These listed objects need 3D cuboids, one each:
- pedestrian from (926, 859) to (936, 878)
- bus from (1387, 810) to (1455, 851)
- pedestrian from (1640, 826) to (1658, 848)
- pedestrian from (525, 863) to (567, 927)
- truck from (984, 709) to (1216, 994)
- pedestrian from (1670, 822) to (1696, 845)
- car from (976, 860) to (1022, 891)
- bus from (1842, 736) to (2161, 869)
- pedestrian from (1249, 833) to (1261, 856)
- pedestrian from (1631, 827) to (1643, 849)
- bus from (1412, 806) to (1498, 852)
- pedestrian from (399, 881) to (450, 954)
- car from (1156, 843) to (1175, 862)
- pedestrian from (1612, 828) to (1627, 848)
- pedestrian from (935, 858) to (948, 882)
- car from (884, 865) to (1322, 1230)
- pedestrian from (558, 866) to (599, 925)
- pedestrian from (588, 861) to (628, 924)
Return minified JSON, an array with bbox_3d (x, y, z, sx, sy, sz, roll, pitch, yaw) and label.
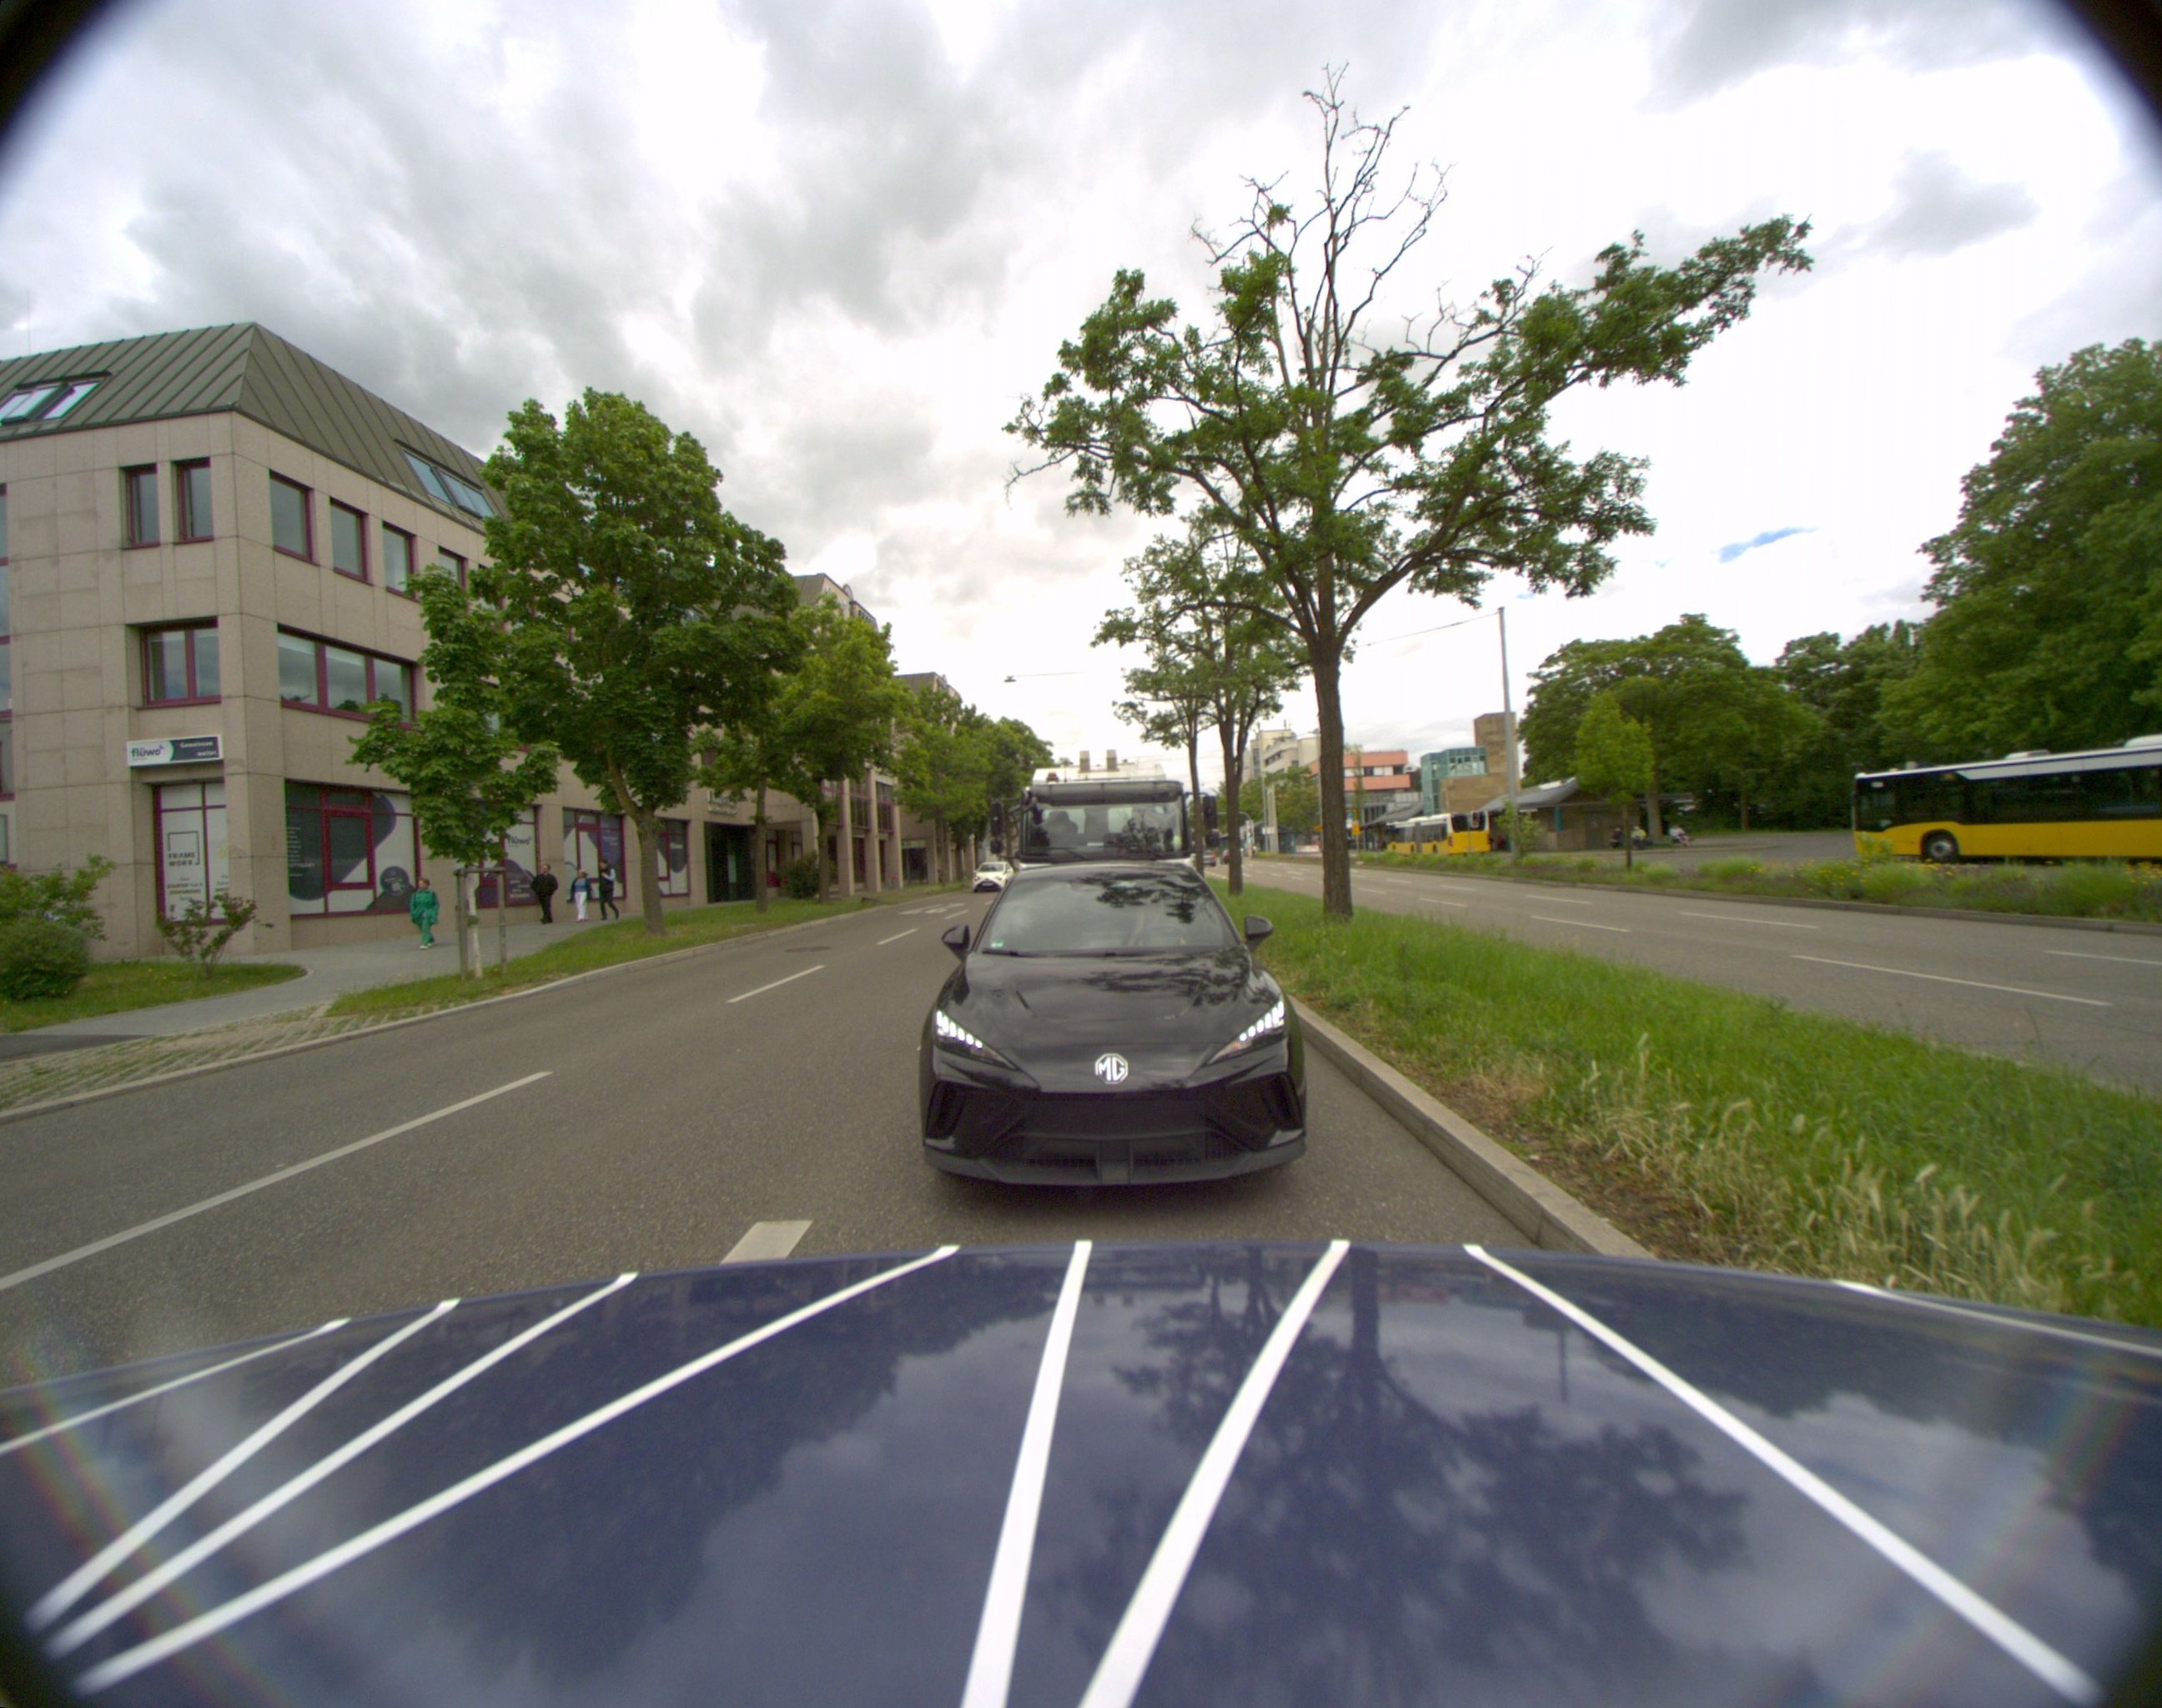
[{"bbox_3d":[-11.289,1.119,57.196,0.607,1.397,0.640,-2,1,2],"label":"pedestrian"},{"bbox_3d":[27.634,-1.813,62.255,2.887,2.985,9.182,-3,0,10],"label":"bus"},{"bbox_3d":[30.648,-0.900,40.998,0.598,1.155,0.744,-2,1,26],"label":"pedestrian"},{"bbox_3d":[-15.433,1.175,21.931,0.642,1.795,0.677,-3,1,1],"label":"pedestrian"},{"bbox_3d":[0.330,-0.029,12.477,2.544,3.187,7.369,-3,0,2],"label":"truck"},{"bbox_3d":[31.954,-1.078,40.354,0.650,1.165,0.925,-2,1,1],"label":"pedestrian"},{"bbox_3d":[-4.058,1.030,37.943,1.657,1.417,3.536,-2,0,4],"label":"car"},{"bbox_3d":[25.927,-1.234,19.614,2.888,2.985,10.397,-3,0,6],"label":"bus"},{"bbox_3d":[21.369,-1.124,93.413,0.905,2.772,1.145,-3,1,-25],"label":"pedestrian"},{"bbox_3d":[30.200,-0.886,41.274,0.367,1.160,0.899,-2,1,26],"label":"pedestrian"},{"bbox_3d":[26.110,-1.657,53.592,2.887,2.793,9.182,-3,0,10],"label":"bus"},{"bbox_3d":[-13.963,1.338,16.173,0.496,1.510,0.677,0,1,1],"label":"pedestrian"},{"bbox_3d":[9.441,-0.150,84.905,1.726,2.002,4.001,-3,0,3],"label":"car"},{"bbox_3d":[30.739,-0.911,43.373,0.598,1.155,0.744,-1,1,32],"label":"pedestrian"},{"bbox_3d":[-10.518,1.202,57.491,0.719,1.811,0.949,-2,1,1],"label":"pedestrian"},{"bbox_3d":[0.122,0.868,5.277,1.827,1.430,4.000,-3,0,1],"label":"car"},{"bbox_3d":[-14.566,1.193,22.038,0.642,1.637,0.677,-3,1,1],"label":"pedestrian"},{"bbox_3d":[-13.768,1.109,22.147,0.642,1.795,0.677,-3,1,1],"label":"pedestrian"}]
